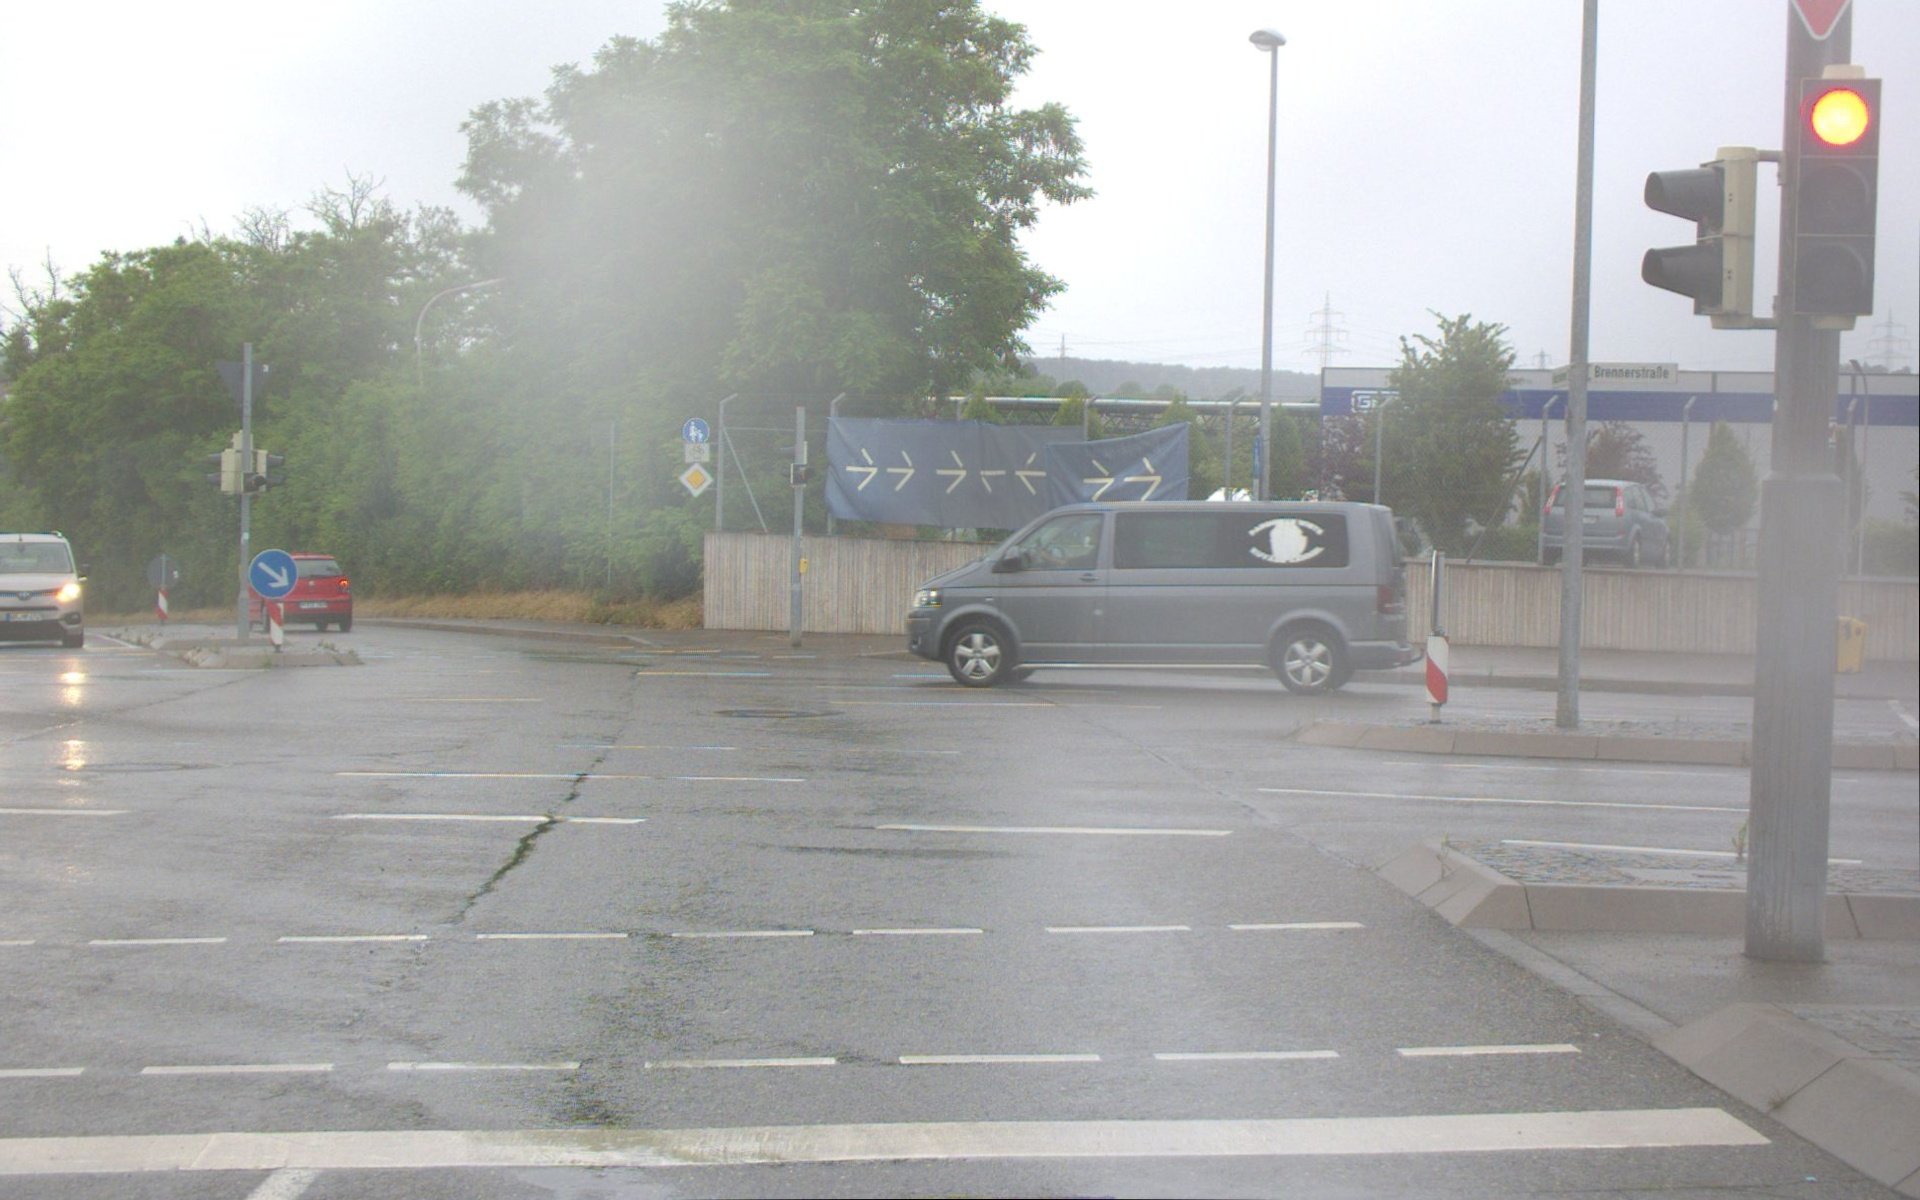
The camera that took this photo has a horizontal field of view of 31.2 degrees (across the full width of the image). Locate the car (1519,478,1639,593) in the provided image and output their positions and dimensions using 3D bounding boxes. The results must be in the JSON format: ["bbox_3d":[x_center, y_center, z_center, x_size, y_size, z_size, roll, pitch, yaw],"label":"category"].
[{"bbox_3d":[11.408,-1.185,63.193,1.994,2.007,3.998,1,1,12],"label":"car"}]

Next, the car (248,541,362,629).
[{"bbox_3d":[-12.390,-0.305,64.876,1.614,1.443,3.808,2,2,-18],"label":"car"}]

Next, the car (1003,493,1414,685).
[{"bbox_3d":[2.614,-0.147,35.684,3.989,1.842,1.999,1,1,12],"label":"car"}]

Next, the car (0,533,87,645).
[{"bbox_3d":[-14.608,-0.198,53.424,1.993,1.612,4.002,1,2,-14],"label":"car"}]
